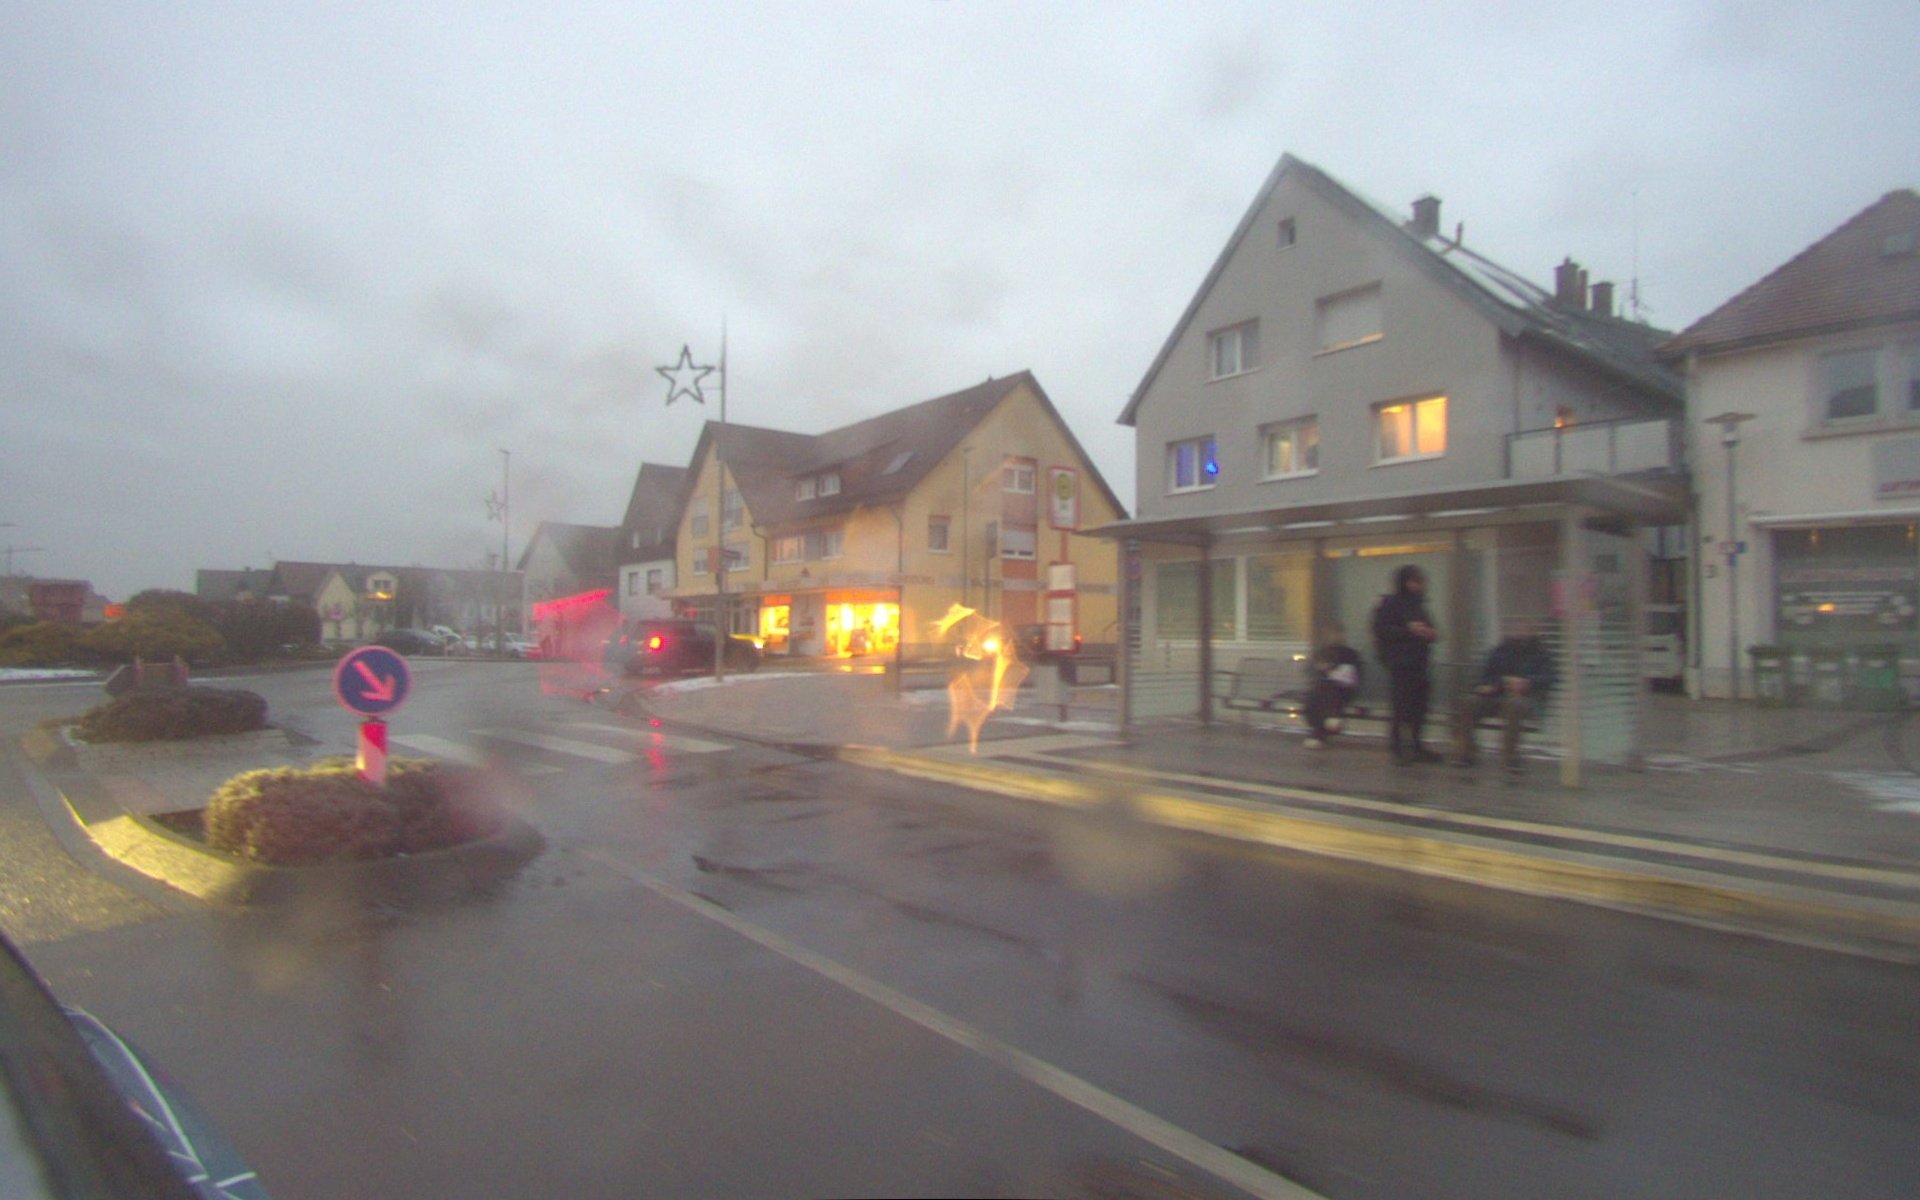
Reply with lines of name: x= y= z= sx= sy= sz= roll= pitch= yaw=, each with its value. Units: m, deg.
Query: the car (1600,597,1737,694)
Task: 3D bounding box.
car: x=14.758 y=0.915 z=21.046 sx=3.373 sy=1.867 sz=1.516 roll=2 pitch=-2 yaw=-40

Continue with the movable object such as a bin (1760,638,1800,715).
movable object such as a bin: x=13.293 y=1.230 z=16.406 sx=0.284 sy=1.219 sz=0.454 roll=0 pitch=0 yaw=-43

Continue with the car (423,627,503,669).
car: x=-26.689 y=2.545 z=54.365 sx=3.954 sy=2.029 sz=1.908 roll=1 pitch=1 yaw=28

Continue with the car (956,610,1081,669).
car: x=2.227 y=1.436 z=38.210 sx=4.389 sy=2.029 sz=2.006 roll=0 pitch=1 yaw=-32

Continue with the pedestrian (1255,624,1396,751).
pedestrian: x=3.638 y=0.849 z=10.082 sx=0.976 sy=1.167 sz=0.903 roll=0 pitch=-3 yaw=-39

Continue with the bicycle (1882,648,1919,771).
bicycle: x=8.506 y=0.898 z=7.981 sx=0.463 sy=1.018 sz=1.744 roll=1 pitch=-2 yaw=-32

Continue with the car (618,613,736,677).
car: x=-7.209 y=1.112 z=26.167 sx=1.686 sy=1.515 sz=3.892 roll=0 pitch=-1 yaw=5

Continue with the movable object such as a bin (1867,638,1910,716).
movable object such as a bin: x=14.162 y=1.161 z=15.442 sx=0.284 sy=1.151 sz=0.454 roll=0 pitch=0 yaw=-43

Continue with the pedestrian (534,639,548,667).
pedestrian: x=-24.993 y=3.178 z=60.363 sx=0.574 sy=1.623 sz=0.500 roll=0 pitch=0 yaw=-44

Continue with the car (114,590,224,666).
car: x=-23.047 y=0.735 z=29.672 sx=2.024 sy=2.002 sz=4.551 roll=0 pitch=1 yaw=-31

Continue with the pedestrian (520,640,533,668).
pedestrian: x=-25.577 y=3.200 z=59.727 sx=0.574 sy=1.623 sz=0.500 roll=0 pitch=0 yaw=-44

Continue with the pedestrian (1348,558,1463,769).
pedestrian: x=3.947 y=0.539 z=8.960 sx=0.687 sy=1.755 sz=0.740 roll=-3 pitch=-2 yaw=41

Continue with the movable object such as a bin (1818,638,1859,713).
movable object such as a bin: x=13.787 y=1.172 z=15.879 sx=0.284 sy=1.129 sz=0.454 roll=0 pitch=0 yaw=-43

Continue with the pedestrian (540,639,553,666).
pedestrian: x=-25.291 y=3.208 z=61.859 sx=0.574 sy=1.623 sz=0.500 roll=0 pitch=0 yaw=-44

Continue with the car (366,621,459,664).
car: x=-28.181 y=2.165 z=52.093 sx=3.963 sy=2.010 sz=1.962 roll=1 pitch=0 yaw=15

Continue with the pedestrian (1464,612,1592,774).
pedestrian: x=4.819 y=0.758 z=8.594 sx=0.677 sy=1.281 sz=0.751 roll=0 pitch=-2 yaw=-44

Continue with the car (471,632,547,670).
car: x=-25.200 y=2.810 z=56.560 sx=3.854 sy=1.895 sz=1.917 roll=1 pitch=1 yaw=28
